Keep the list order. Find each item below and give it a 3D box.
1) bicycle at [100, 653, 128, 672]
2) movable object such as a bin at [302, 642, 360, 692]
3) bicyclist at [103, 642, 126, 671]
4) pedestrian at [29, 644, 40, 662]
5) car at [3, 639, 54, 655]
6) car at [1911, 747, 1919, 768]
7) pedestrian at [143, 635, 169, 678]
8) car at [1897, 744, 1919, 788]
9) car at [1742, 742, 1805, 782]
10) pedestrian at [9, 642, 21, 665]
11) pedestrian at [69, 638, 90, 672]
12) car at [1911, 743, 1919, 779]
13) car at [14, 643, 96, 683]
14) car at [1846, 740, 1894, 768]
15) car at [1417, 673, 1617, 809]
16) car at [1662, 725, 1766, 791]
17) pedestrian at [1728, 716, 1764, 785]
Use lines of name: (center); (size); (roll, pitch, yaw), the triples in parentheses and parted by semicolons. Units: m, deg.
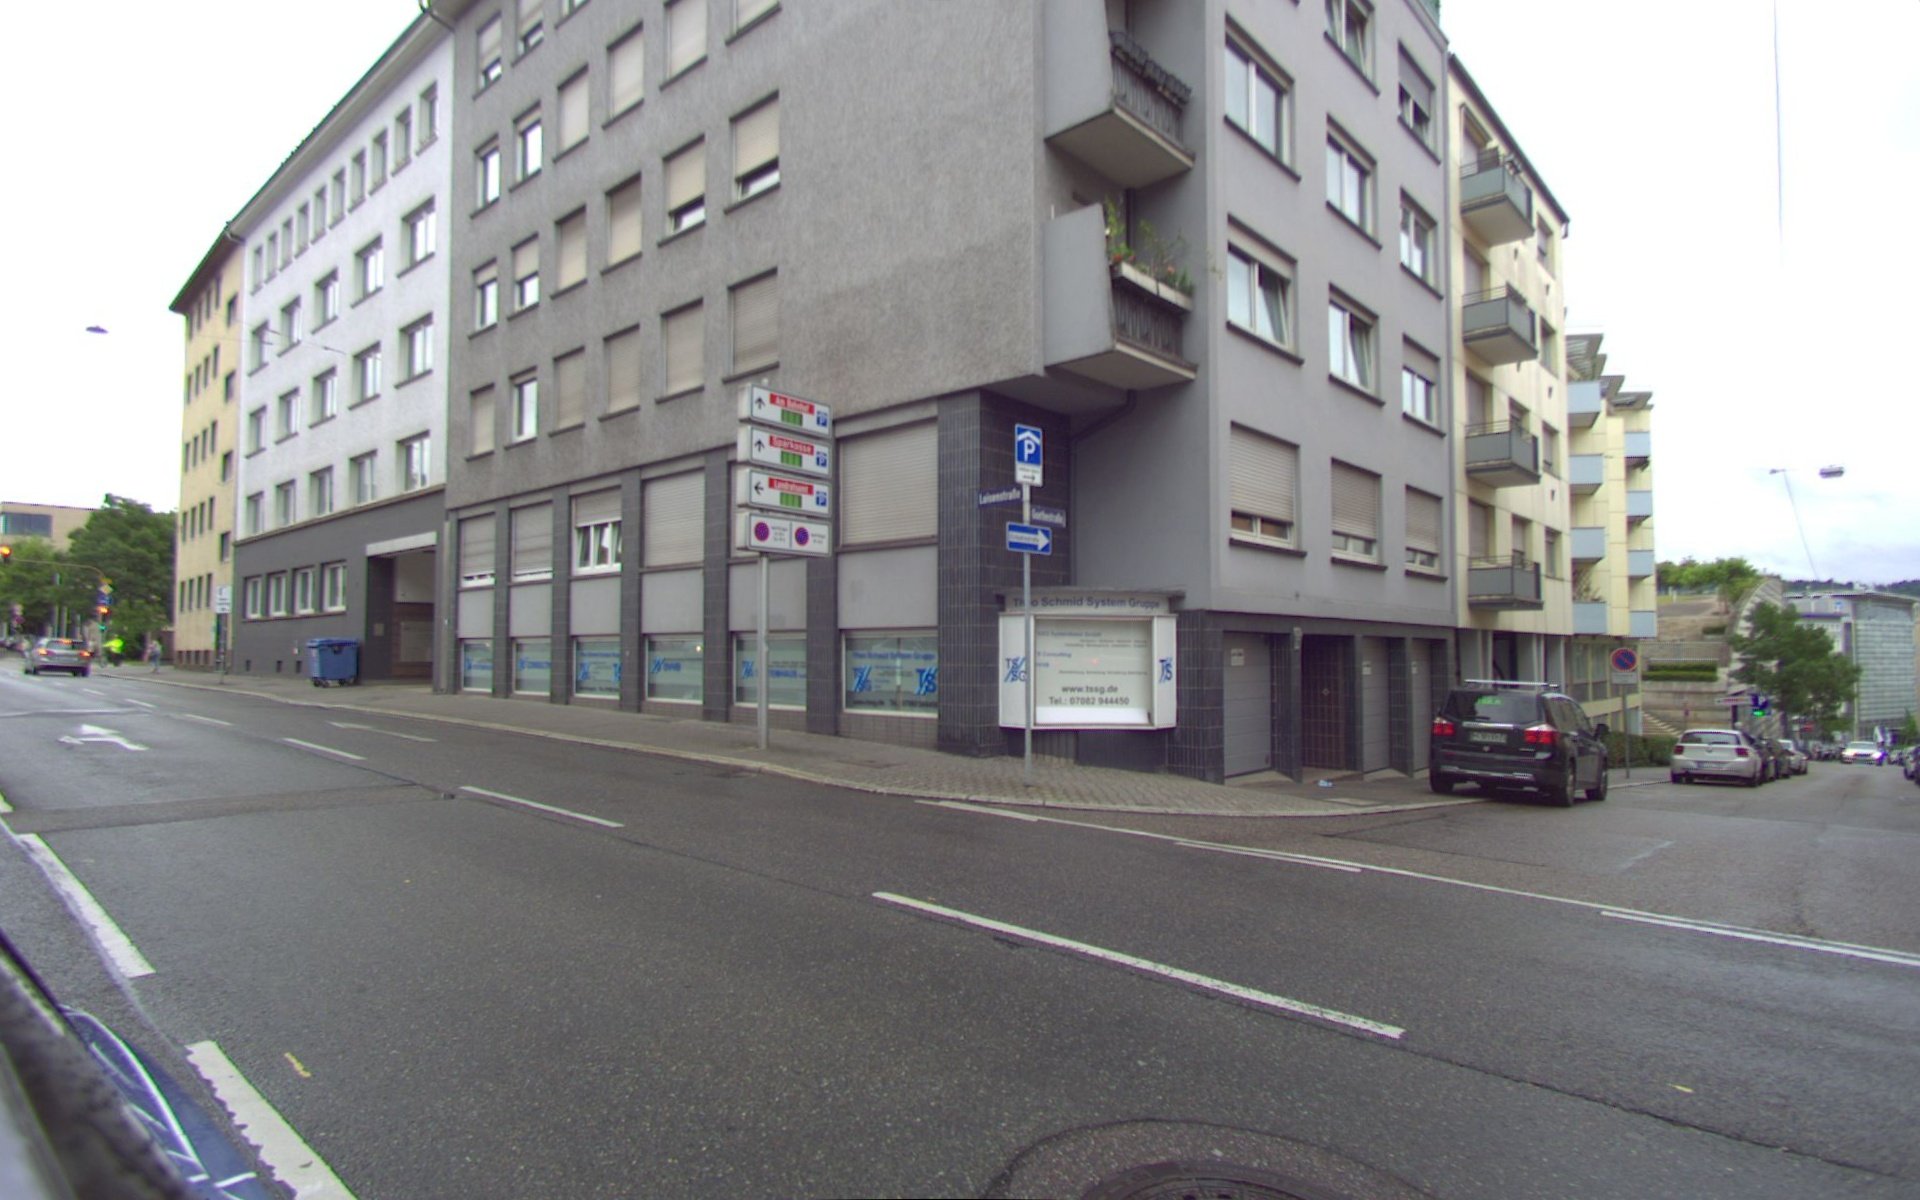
bicycle: (-43.114, 3.189, 51.572); (1.867, 0.914, 0.875); (-2, -2, 44)
movable object such as a bin: (-17.467, 1.834, 28.103); (1.190, 1.334, 1.065); (-2, -2, 42)
bicyclist: (-43.080, 2.862, 51.562); (0.813, 1.453, 0.833); (-2, -2, 44)
pedestrian: (-75.404, 4.318, 82.433); (0.475, 1.386, 0.614); (-2, -2, 42)
car: (-98.355, 4.966, 106.864); (3.940, 1.597, 2.001); (1, -2, -44)
car: (69.067, 11.248, 71.867); (1.929, 1.471, 3.946); (-2, -7, 40)
pedestrian: (-32.164, 2.253, 40.478); (0.811, 1.702, 0.709); (-2, -2, 44)
car: (34.849, 5.957, 36.045); (1.929, 1.471, 3.946); (-2, -7, 40)
car: (34.305, 6.779, 42.647); (1.929, 1.471, 3.946); (-2, -7, 40)
pedestrian: (-75.895, 4.294, 81.295); (0.692, 1.785, 0.588); (-2, -2, 41)
pedestrian: (-44.946, 2.824, 51.663); (0.811, 1.702, 0.709); (-2, -2, 44)
car: (41.487, 6.799, 42.549); (1.929, 1.471, 3.946); (-2, -7, 40)
car: (-35.950, 2.488, 40.157); (4.293, 1.427, 1.807); (-2, -7, 41)
car: (55.157, 9.340, 61.415); (1.928, 1.471, 3.947); (-1, -7, 39)
car: (8.539, 2.091, 15.359); (1.929, 1.731, 3.946); (-2, -7, 40)
car: (19.785, 4.090, 26.491); (1.929, 1.471, 3.946); (-2, -7, 40)
pedestrian: (22.090, 4.204, 28.432); (0.721, 1.829, 0.596); (-2, -2, 41)
